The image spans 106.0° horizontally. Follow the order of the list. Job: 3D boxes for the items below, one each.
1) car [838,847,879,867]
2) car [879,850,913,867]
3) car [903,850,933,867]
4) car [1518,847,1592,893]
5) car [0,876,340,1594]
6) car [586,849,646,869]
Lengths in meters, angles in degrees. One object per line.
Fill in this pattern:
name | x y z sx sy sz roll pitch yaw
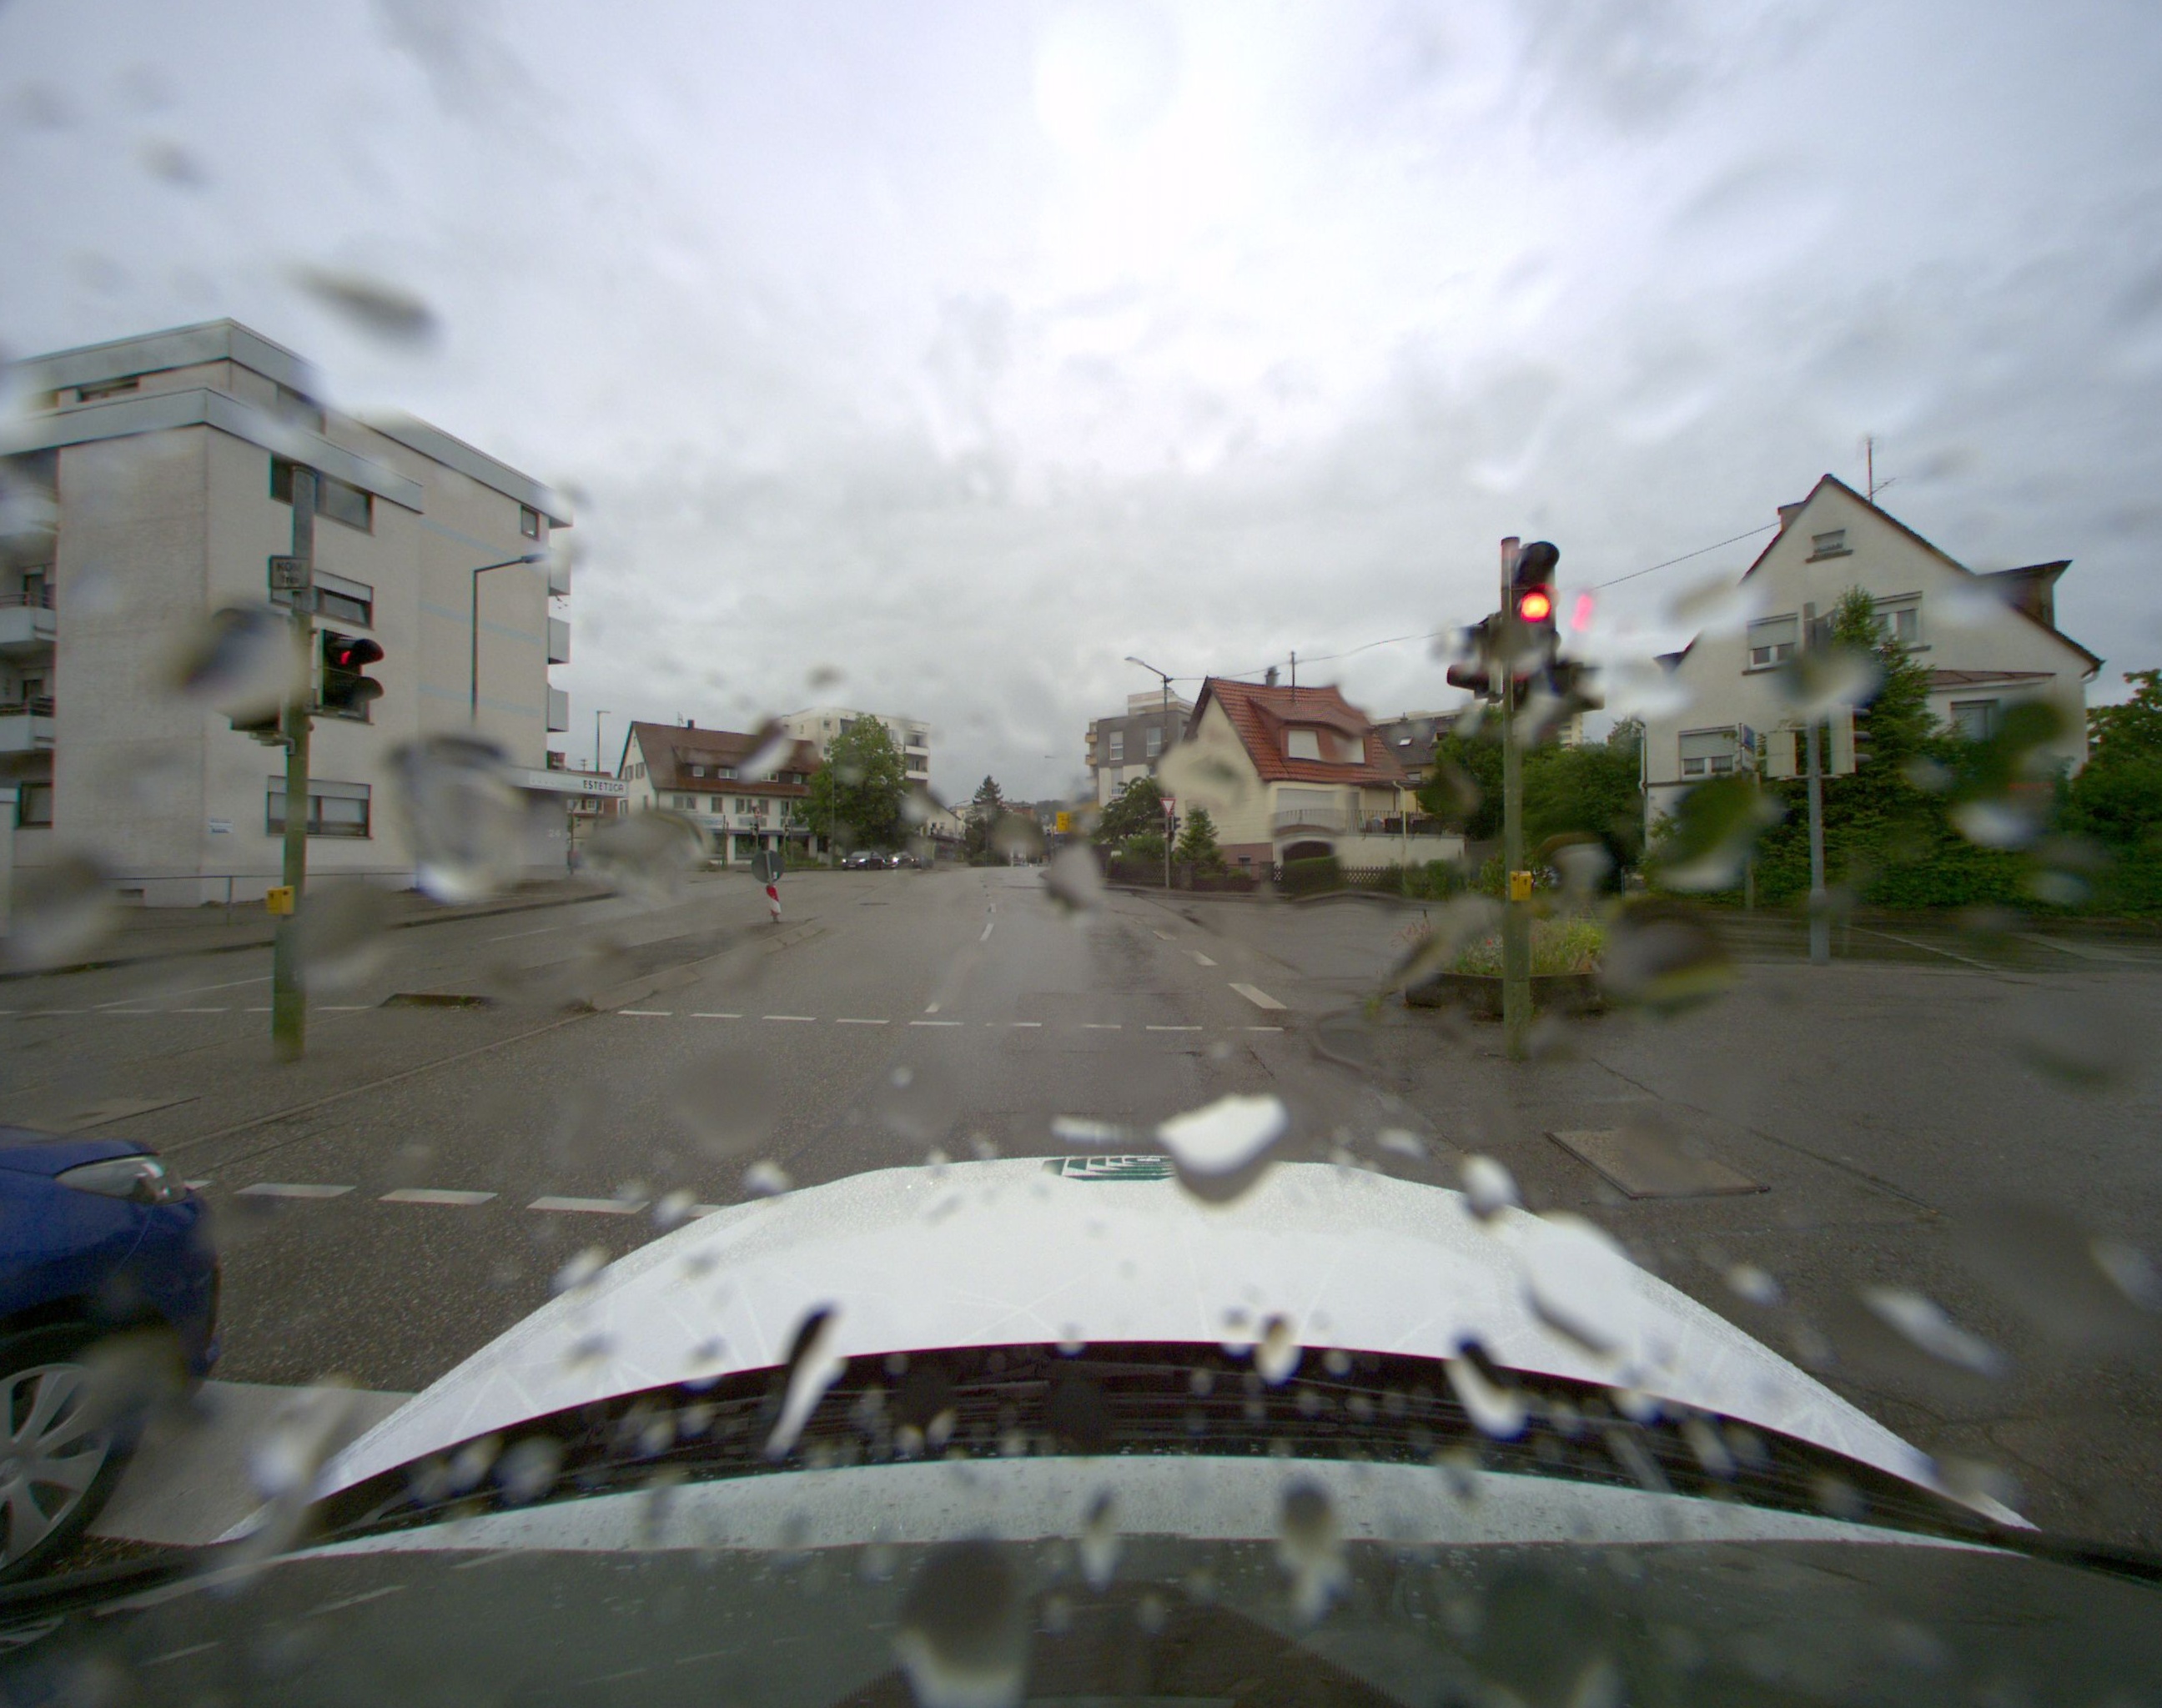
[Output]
car | -16.006 0.212 58.757 1.772 1.420 3.832 0 0 2
car | -14.968 0.344 66.152 1.708 1.387 4.022 0 0 2
car | -14.371 0.369 71.939 1.772 1.420 3.832 0 0 2
car | 17.098 0.521 29.298 1.723 1.514 4.025 0 0 39
car | -2.984 0.777 0.724 1.572 1.410 3.272 0 0 2
car | -38.293 0.412 67.083 3.988 1.572 1.850 0 0 -42
